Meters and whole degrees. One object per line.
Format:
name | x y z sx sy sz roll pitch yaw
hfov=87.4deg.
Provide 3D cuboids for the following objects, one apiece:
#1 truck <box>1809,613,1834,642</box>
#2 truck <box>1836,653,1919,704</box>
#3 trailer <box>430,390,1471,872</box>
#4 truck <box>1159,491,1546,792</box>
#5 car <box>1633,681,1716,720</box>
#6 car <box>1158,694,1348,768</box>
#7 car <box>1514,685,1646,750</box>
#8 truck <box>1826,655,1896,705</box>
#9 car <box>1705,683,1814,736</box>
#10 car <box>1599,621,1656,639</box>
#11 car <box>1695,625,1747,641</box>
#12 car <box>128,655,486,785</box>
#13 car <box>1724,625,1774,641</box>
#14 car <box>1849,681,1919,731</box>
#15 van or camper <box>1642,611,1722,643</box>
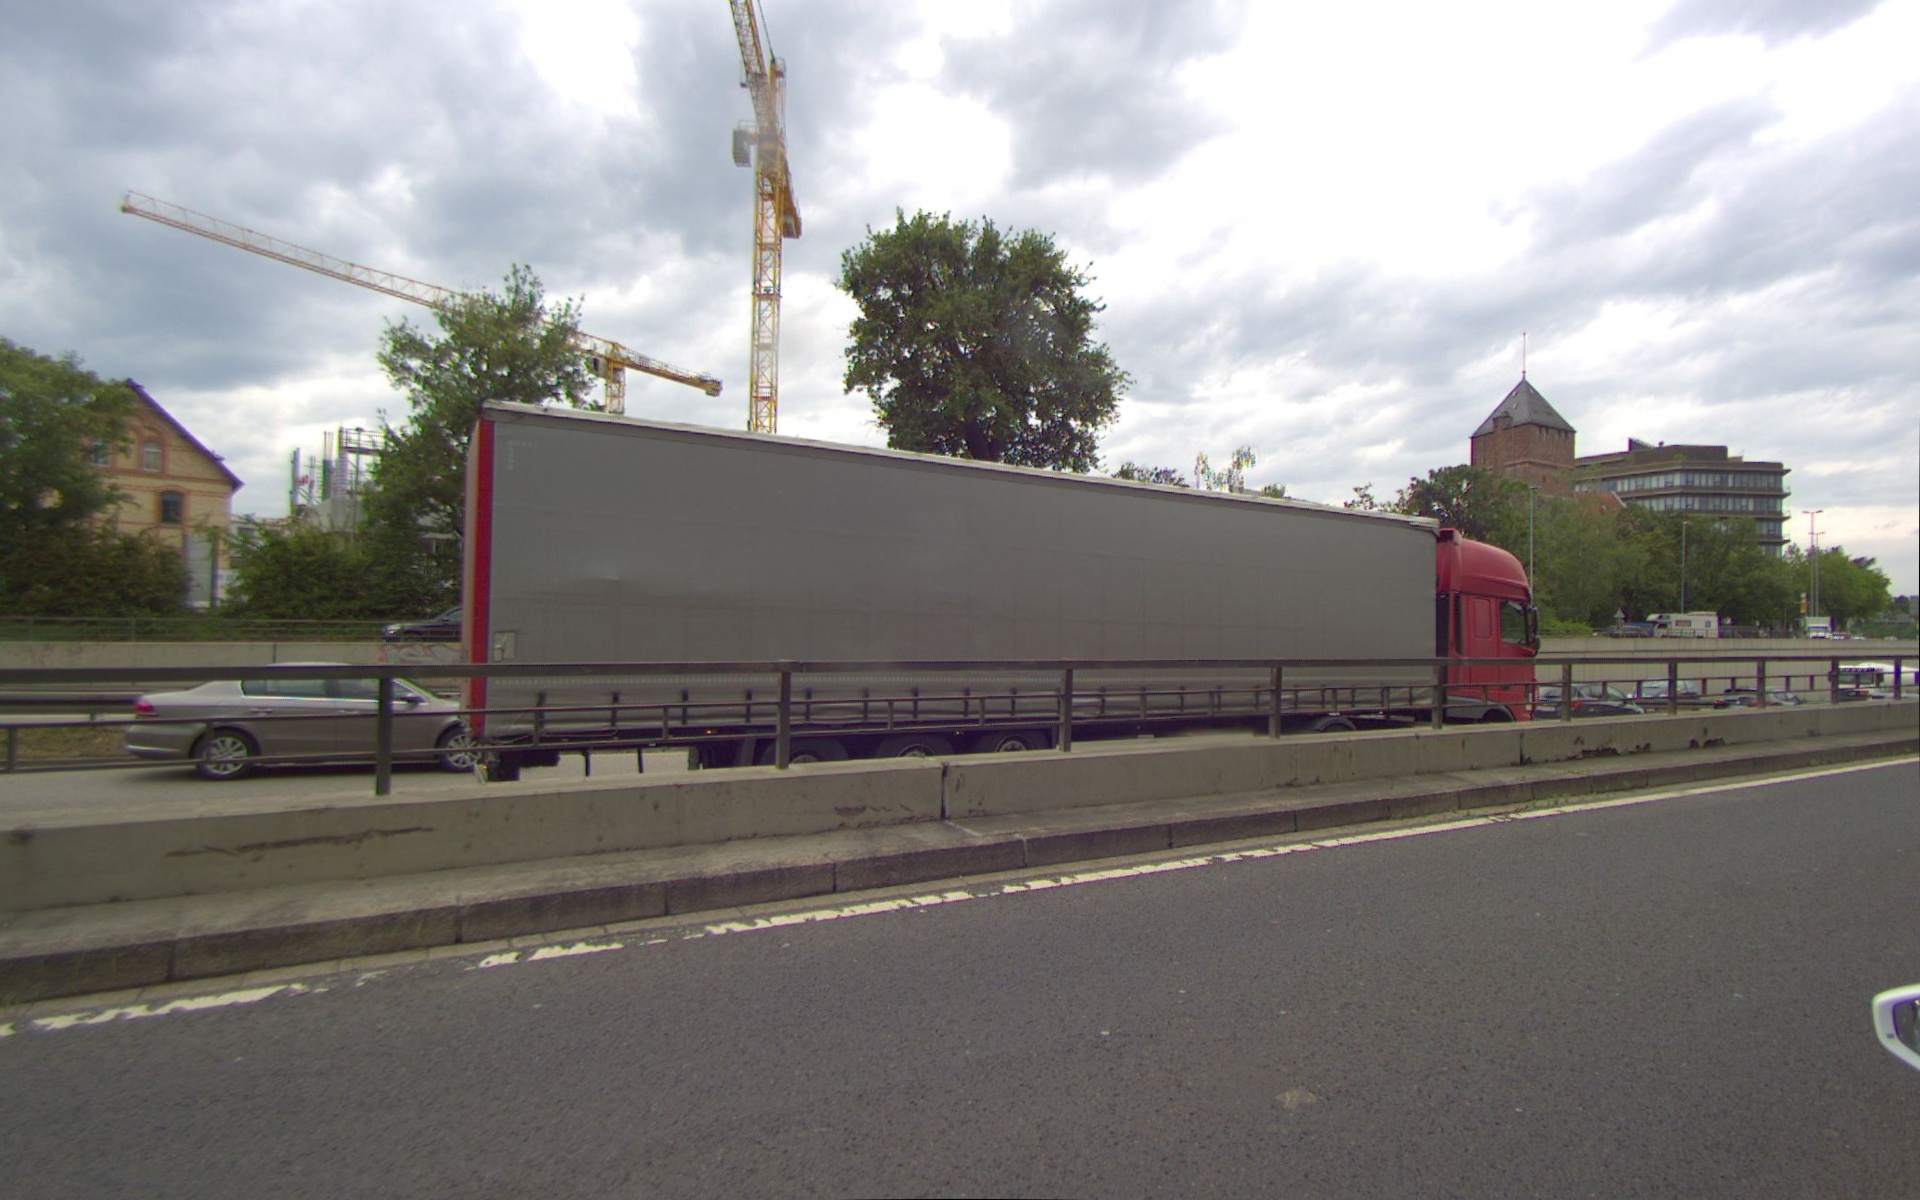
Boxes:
truck | 94.100 2.972 109.694 1.993 3.027 7.062 2 0 41
truck | 66.529 5.561 72.079 10.929 3.396 2.511 2 -2 -32
trailer | 1.192 0.499 13.314 14.384 4.089 2.639 2 -2 -30
truck | 6.491 0.683 16.407 6.130 4.089 2.693 2 -2 -30
car | 32.734 4.574 45.999 3.906 1.573 1.616 2 -2 -30
car | 6.234 2.708 21.280 3.850 1.229 1.648 2 0 -30
car | 17.825 3.321 28.830 3.853 1.549 1.647 2 0 -31
truck | 62.172 5.472 69.304 4.271 3.262 2.511 2 -2 -32
car | 27.426 3.704 34.424 3.851 1.549 1.616 2 0 -30
car | 60.315 2.689 90.819 3.919 1.460 1.630 2 0 9
car | 78.187 3.418 103.280 3.919 1.460 1.630 2 0 9
car | -8.628 1.528 13.661 3.849 1.460 1.616 2 0 -29
car | 84.720 3.539 107.877 3.919 1.460 1.630 2 0 9
car | 27.988 3.081 29.551 3.852 1.229 1.647 2 0 -31
van or camper | 69.838 2.565 97.267 5.805 2.847 2.147 2 0 15
